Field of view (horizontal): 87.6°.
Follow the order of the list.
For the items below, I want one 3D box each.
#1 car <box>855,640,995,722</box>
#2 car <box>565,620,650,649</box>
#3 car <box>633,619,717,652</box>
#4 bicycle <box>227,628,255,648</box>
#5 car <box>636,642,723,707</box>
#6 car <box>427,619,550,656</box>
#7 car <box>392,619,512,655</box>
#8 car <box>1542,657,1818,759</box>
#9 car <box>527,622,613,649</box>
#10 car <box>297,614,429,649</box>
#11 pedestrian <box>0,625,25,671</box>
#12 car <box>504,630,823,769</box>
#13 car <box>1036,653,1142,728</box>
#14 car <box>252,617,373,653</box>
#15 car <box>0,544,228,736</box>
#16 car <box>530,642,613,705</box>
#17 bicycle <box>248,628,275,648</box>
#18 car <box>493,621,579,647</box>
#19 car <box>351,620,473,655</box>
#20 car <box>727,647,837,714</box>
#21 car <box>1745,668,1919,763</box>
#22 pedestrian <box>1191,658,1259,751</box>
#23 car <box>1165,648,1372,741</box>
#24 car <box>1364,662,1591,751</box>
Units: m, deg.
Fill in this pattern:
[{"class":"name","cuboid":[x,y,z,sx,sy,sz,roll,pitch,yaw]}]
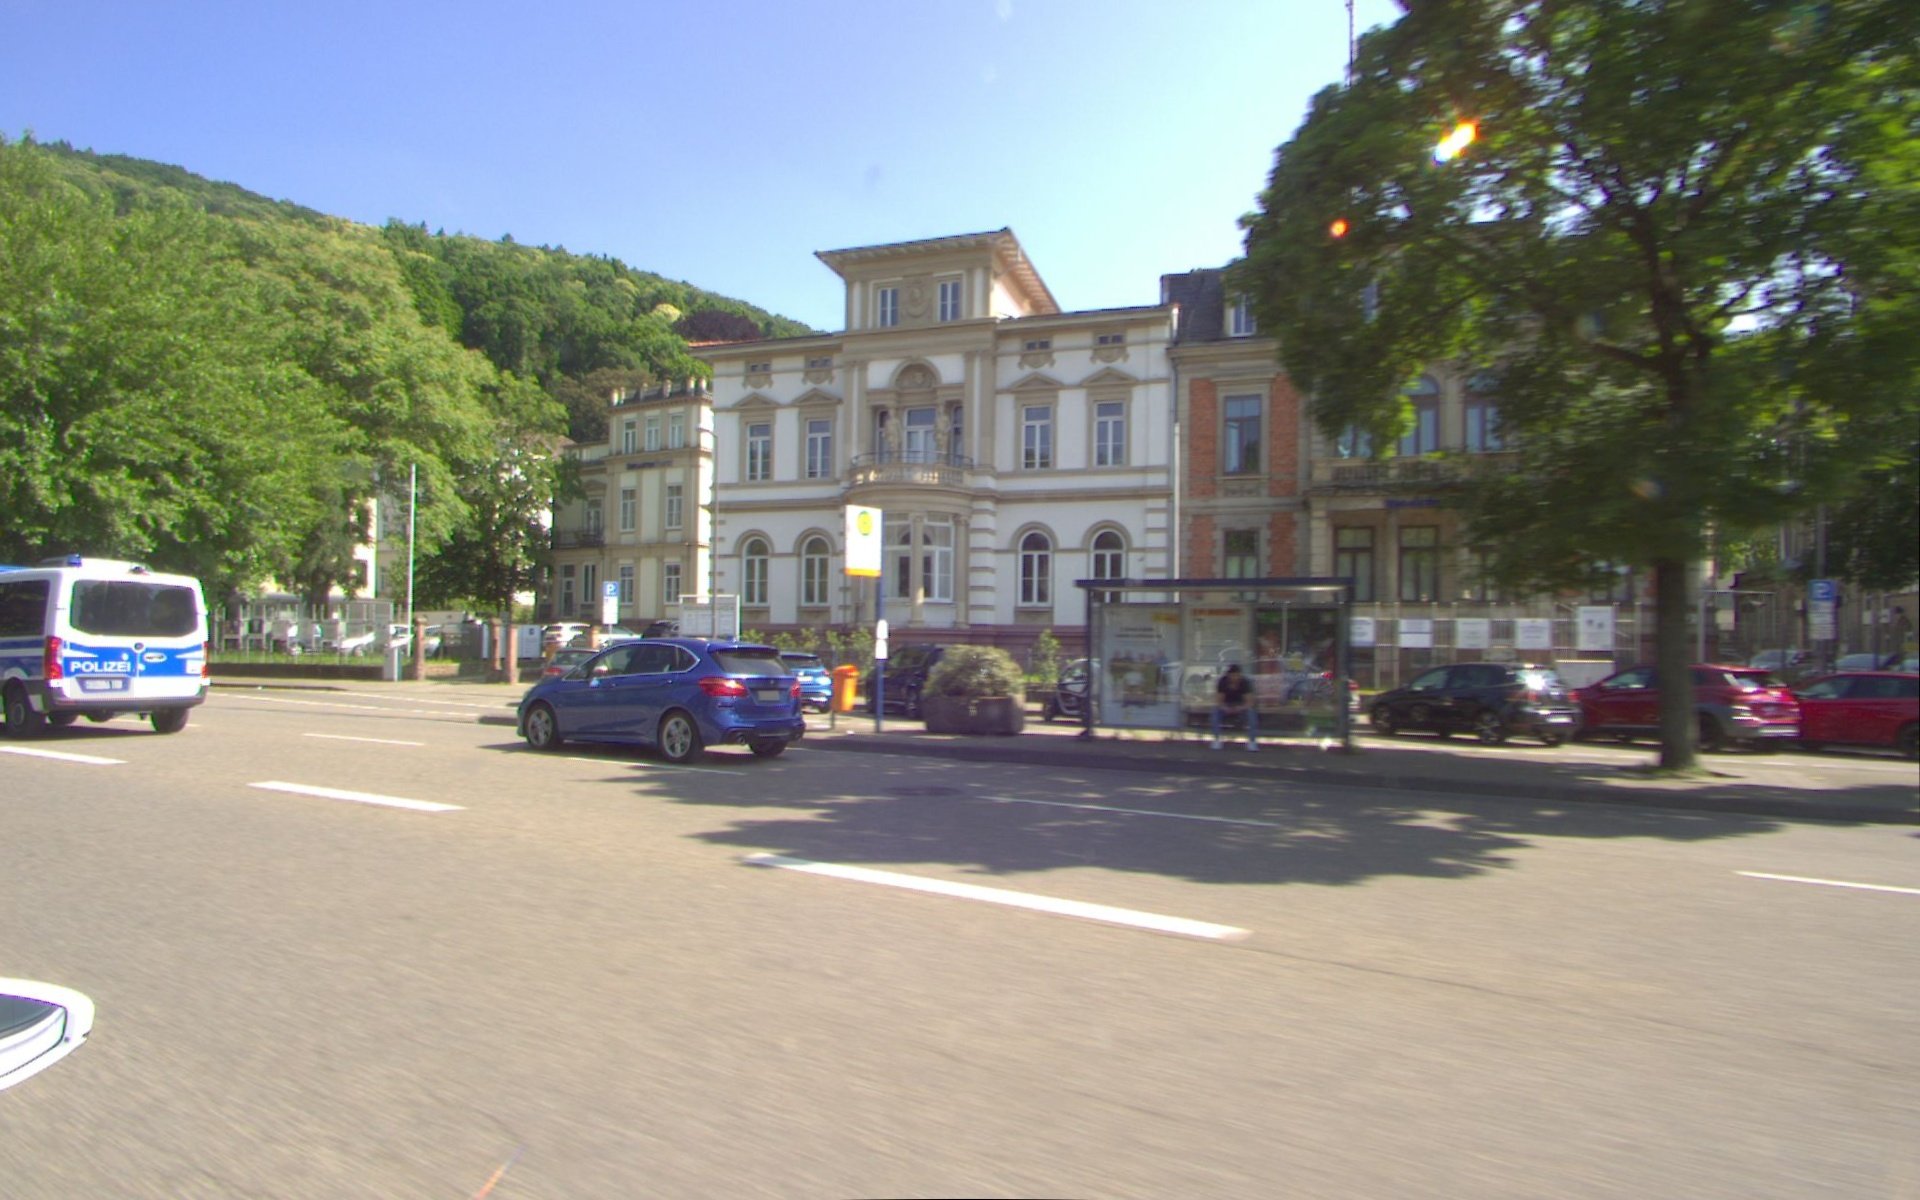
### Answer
[{"class":"car","cuboid":[-0.918,1.798,23.306,1.687,1.717,4.259,2,-3,-25]},{"class":"car","cuboid":[-17.835,1.755,50.875,1.791,1.437,4.052,0,-2,24]},{"class":"car","cuboid":[-14.214,1.779,50.177,1.835,1.528,4.052,0,-2,24]},{"class":"bicycle","cuboid":[-40.847,2.174,56.872,1.807,1.099,0.537,0,-1,29]},{"class":"car","cuboid":[-7.289,1.866,25.823,1.686,1.530,3.801,2,-3,-22]},{"class":"car","cuboid":[-18.197,1.458,38.826,1.959,1.353,4.043,0,-2,24]},{"class":"car","cuboid":[-20.182,1.458,39.959,1.830,1.353,4.043,0,-2,24]},{"class":"car","cuboid":[13.079,1.903,18.485,1.720,1.594,3.870,2,-3,-19]},{"class":"car","cuboid":[-20.343,1.841,52.389,1.791,1.353,4.078,0,-2,24]},{"class":"car","cuboid":[-24.610,1.319,41.442,1.791,1.353,4.469,0,-2,24]},{"class":"pedestrian","cuboid":[-39.050,1.951,41.072,0.816,1.878,0.771,0,-2,28]},{"class":"car","cuboid":[-4.043,1.238,13.487,4.209,1.560,1.717,0,-3,32]},{"class":"car","cuboid":[2.781,1.934,21.872,1.184,1.501,2.278,2,-3,-29]},{"class":"car","cuboid":[-28.488,1.552,44.204,1.846,1.494,4.148,0,-2,22]},{"class":"car","cuboid":[-13.676,0.604,15.213,4.850,2.540,2.074,-1,-3,26]},{"class":"car","cuboid":[-9.992,1.861,25.990,1.796,1.479,4.100,2,-3,-19]},{"class":"bicycle","cuboid":[-40.485,2.207,58.042,1.807,1.099,0.537,0,-1,29]},{"class":"car","cuboid":[-22.489,1.804,53.260,1.791,1.353,4.043,0,-2,24]},{"class":"car","cuboid":[-22.181,1.515,40.680,1.791,1.353,4.087,0,-2,24]},{"class":"car","cuboid":[-4.450,1.920,24.604,1.687,1.460,3.798,2,-3,-25]},{"class":"car","cuboid":[15.935,1.942,17.079,1.719,1.436,3.694,2,-3,-19]},{"class":"pedestrian","cuboid":[3.694,1.438,14.026,0.776,1.213,1.022,1,-2,6]},{"class":"car","cuboid":[6.162,1.845,20.545,1.686,1.650,4.303,2,-3,-23]},{"class":"car","cuboid":[9.660,1.938,19.015,1.578,1.435,3.814,2,-3,-19]}]
